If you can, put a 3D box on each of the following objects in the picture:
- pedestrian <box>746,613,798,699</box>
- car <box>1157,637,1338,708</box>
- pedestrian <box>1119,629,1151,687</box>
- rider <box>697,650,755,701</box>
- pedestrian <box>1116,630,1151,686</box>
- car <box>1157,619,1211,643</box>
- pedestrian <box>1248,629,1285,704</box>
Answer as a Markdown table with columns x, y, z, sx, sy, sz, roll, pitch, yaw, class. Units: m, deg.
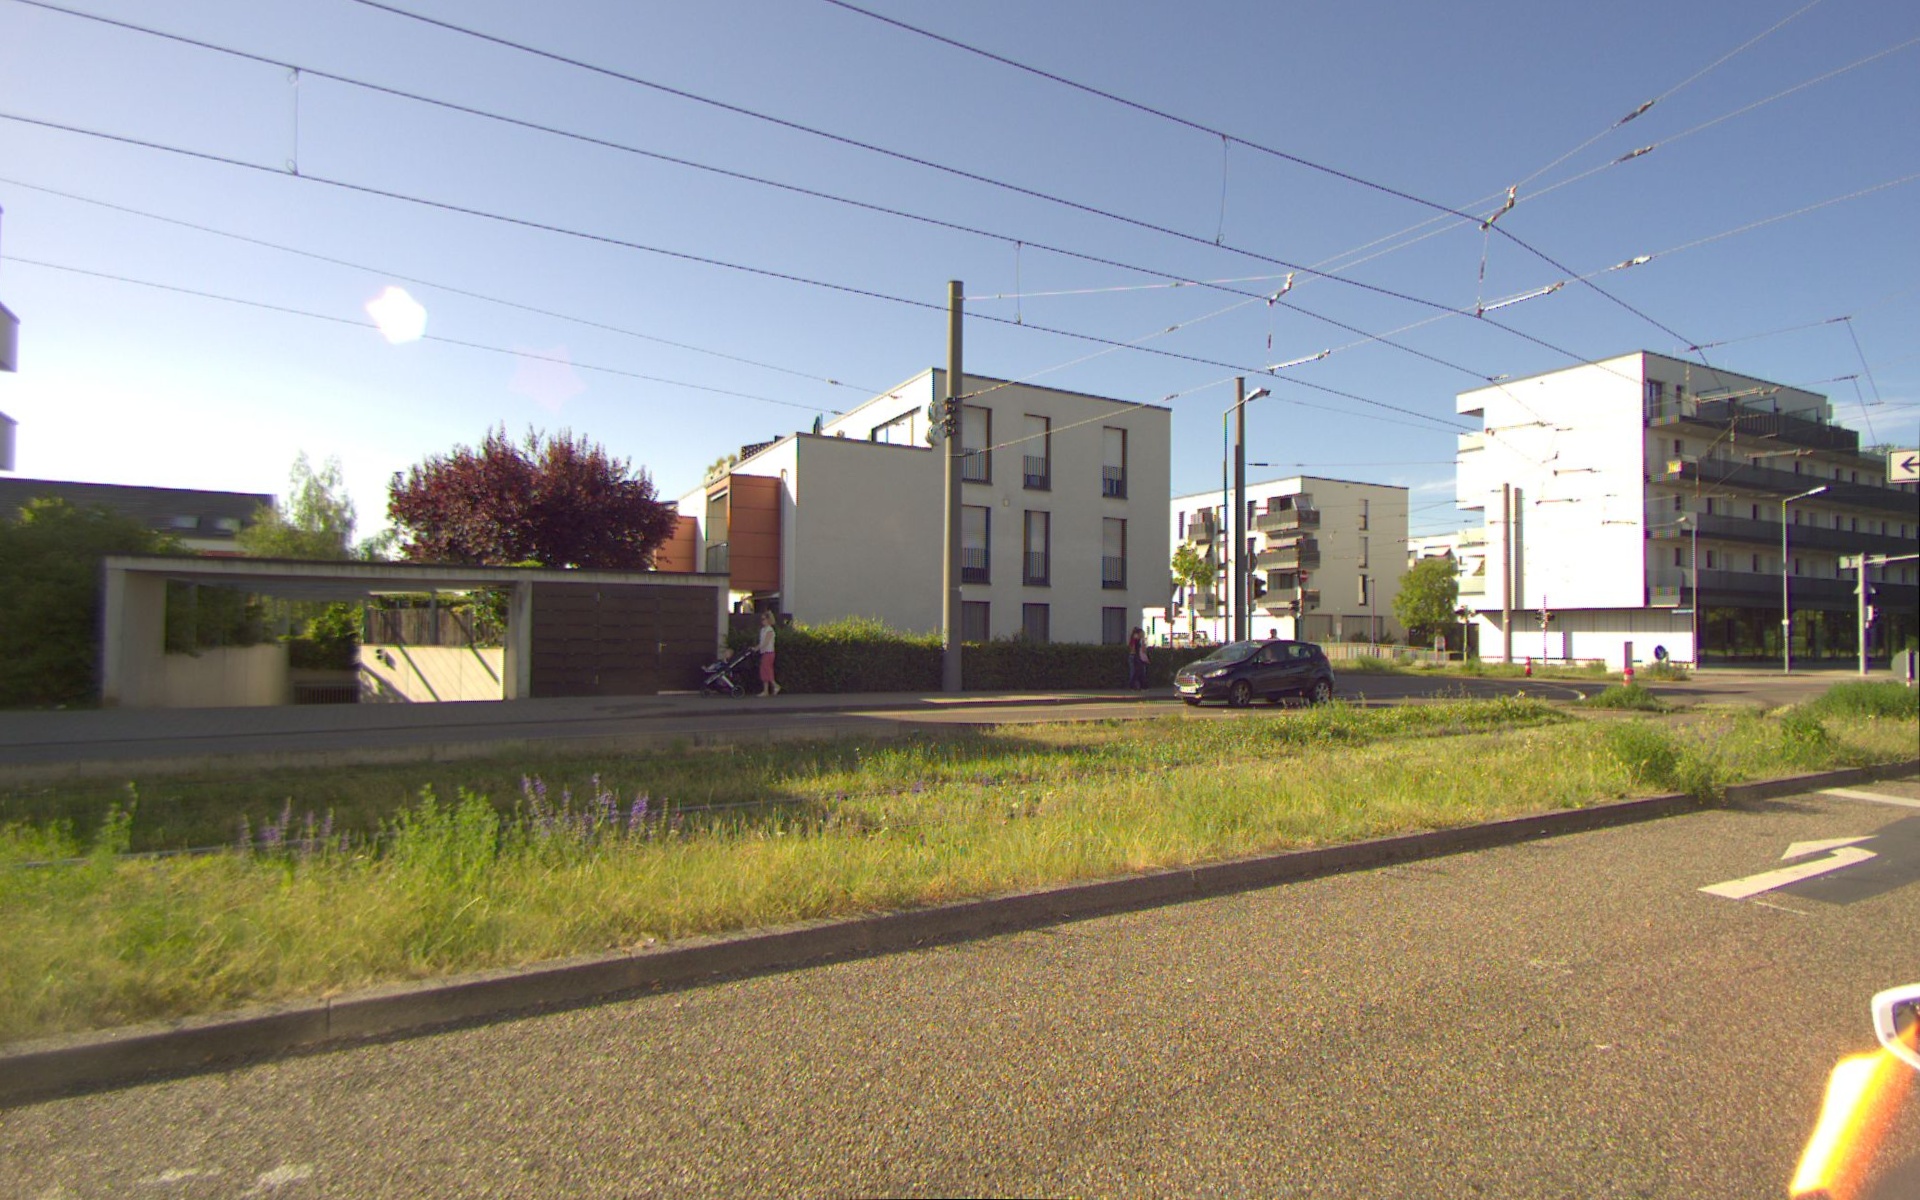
| x | y | z | sx | sy | sz | roll | pitch | yaw | class |
| --- | --- | --- | --- | --- | --- | --- | --- | --- | --- |
| -4.023 | 1.180 | 21.450 | 0.897 | 1.771 | 0.813 | 1 | 0 | -24 | pedestrian |
| 6.401 | 1.577 | 22.329 | 3.692 | 1.449 | 1.697 | 1 | -3 | -27 | car |
| 4.658 | 1.533 | 26.690 | 0.604 | 1.483 | 0.555 | 1 | 0 | -26 | pedestrian |
| -4.913 | 1.567 | 21.049 | 1.031 | 1.016 | 0.775 | 1 | 0 | -25 | rider |
| 4.722 | 1.570 | 27.349 | 0.733 | 1.483 | 0.555 | 1 | 0 | -28 | pedestrian |
| 17.854 | 2.456 | 80.145 | 1.977 | 1.862 | 3.967 | 1 | 0 | -31 | car |
| 8.597 | 1.849 | 28.199 | 0.665 | 2.040 | 0.753 | 1 | 0 | -43 | pedestrian |
